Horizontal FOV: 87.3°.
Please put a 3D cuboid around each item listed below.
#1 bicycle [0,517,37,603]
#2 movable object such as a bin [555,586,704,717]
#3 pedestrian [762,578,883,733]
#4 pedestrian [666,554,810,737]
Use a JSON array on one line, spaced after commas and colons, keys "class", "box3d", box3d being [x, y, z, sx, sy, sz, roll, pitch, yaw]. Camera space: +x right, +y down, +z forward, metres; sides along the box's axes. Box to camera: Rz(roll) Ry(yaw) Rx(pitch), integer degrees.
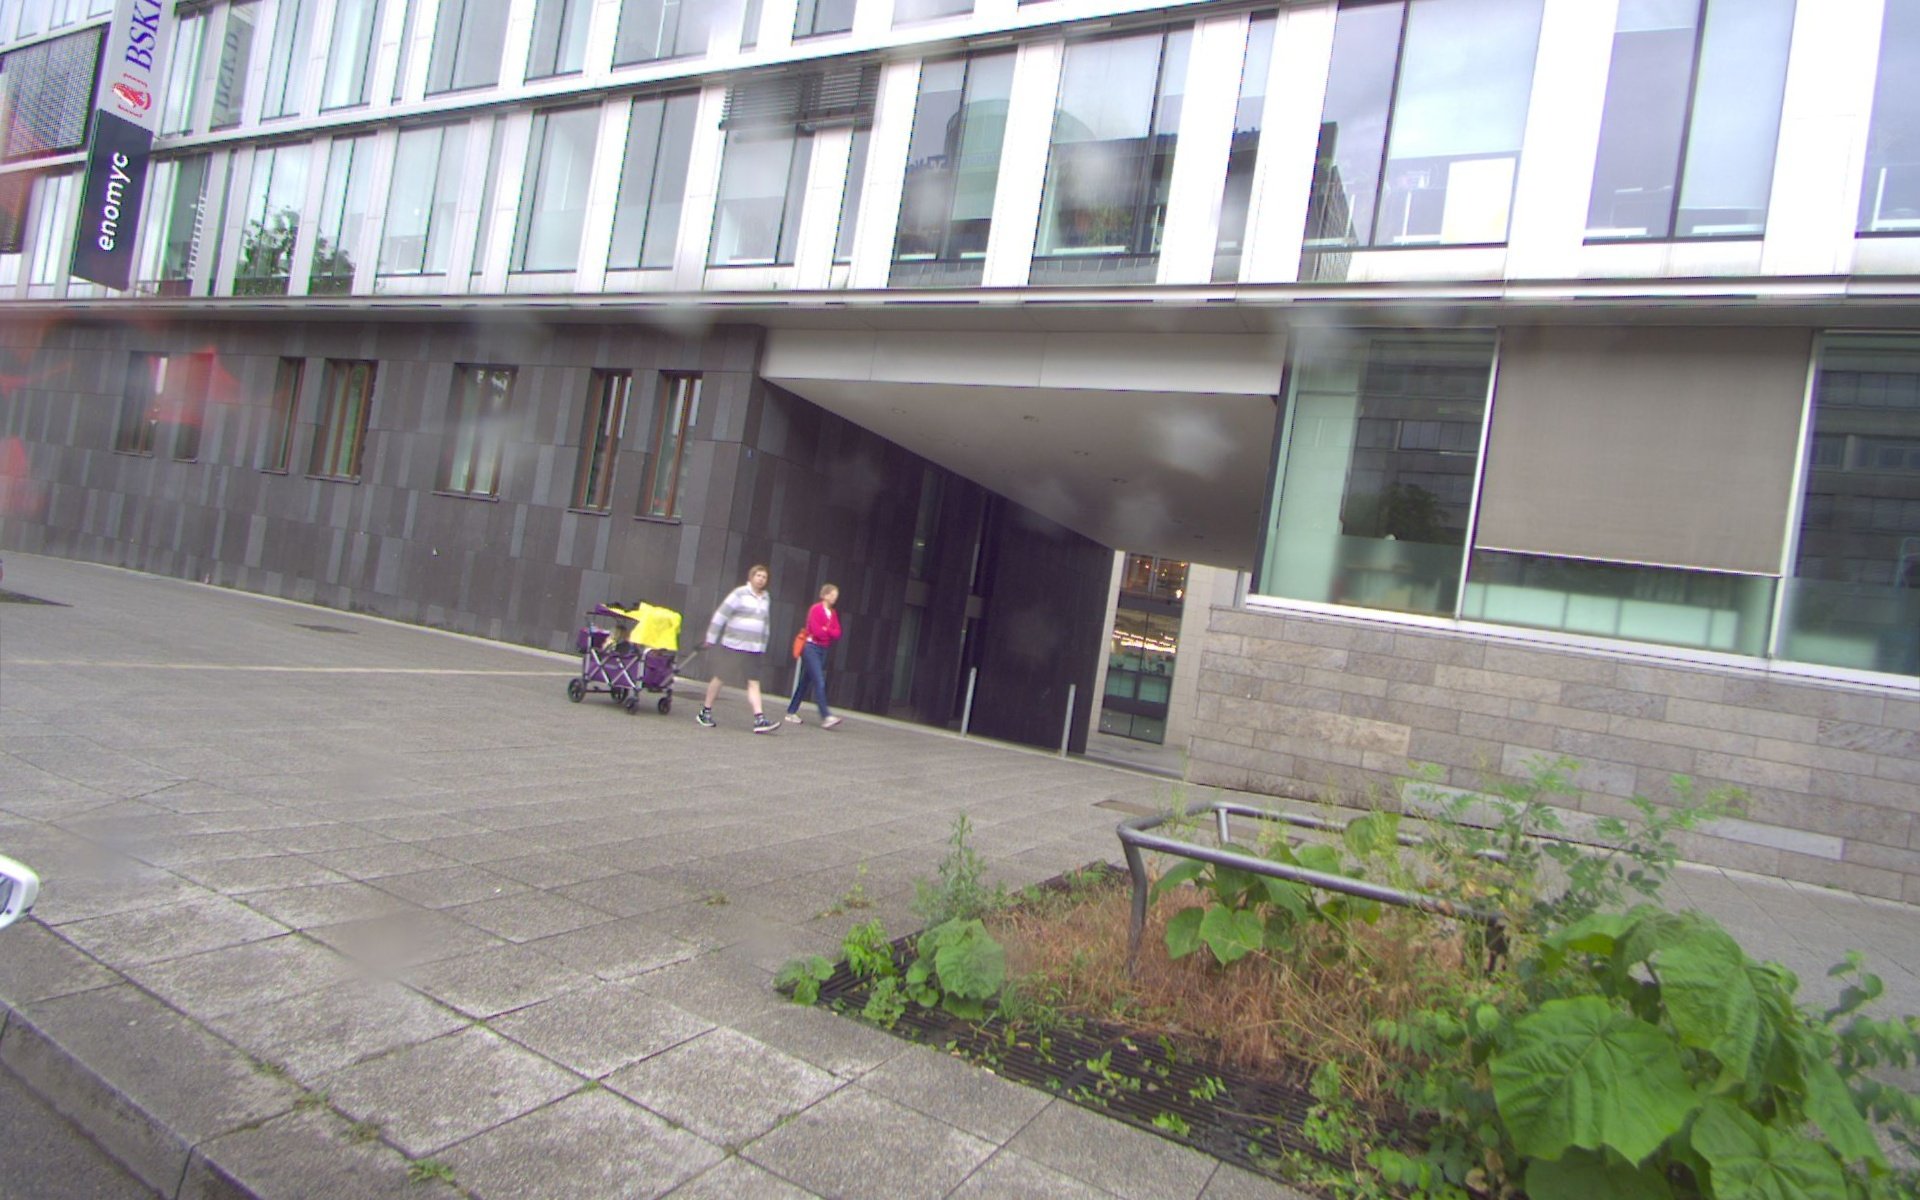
[{"class": "bicycle", "box3d": [-13.077, -0.649, 12.260, 0.665, 1.069, 2.543, 7, -2, 27]}, {"class": "movable object such as a bin", "box3d": [-3.781, 0.572, 11.492, 1.419, 1.280, 0.732, 7, 1, 29]}, {"class": "pedestrian", "box3d": [-1.681, 0.663, 12.322, 1.080, 1.712, 0.719, 7, 1, 26]}, {"class": "pedestrian", "box3d": [-2.433, 0.488, 11.079, 1.028, 1.814, 0.901, 7, 1, 26]}]
